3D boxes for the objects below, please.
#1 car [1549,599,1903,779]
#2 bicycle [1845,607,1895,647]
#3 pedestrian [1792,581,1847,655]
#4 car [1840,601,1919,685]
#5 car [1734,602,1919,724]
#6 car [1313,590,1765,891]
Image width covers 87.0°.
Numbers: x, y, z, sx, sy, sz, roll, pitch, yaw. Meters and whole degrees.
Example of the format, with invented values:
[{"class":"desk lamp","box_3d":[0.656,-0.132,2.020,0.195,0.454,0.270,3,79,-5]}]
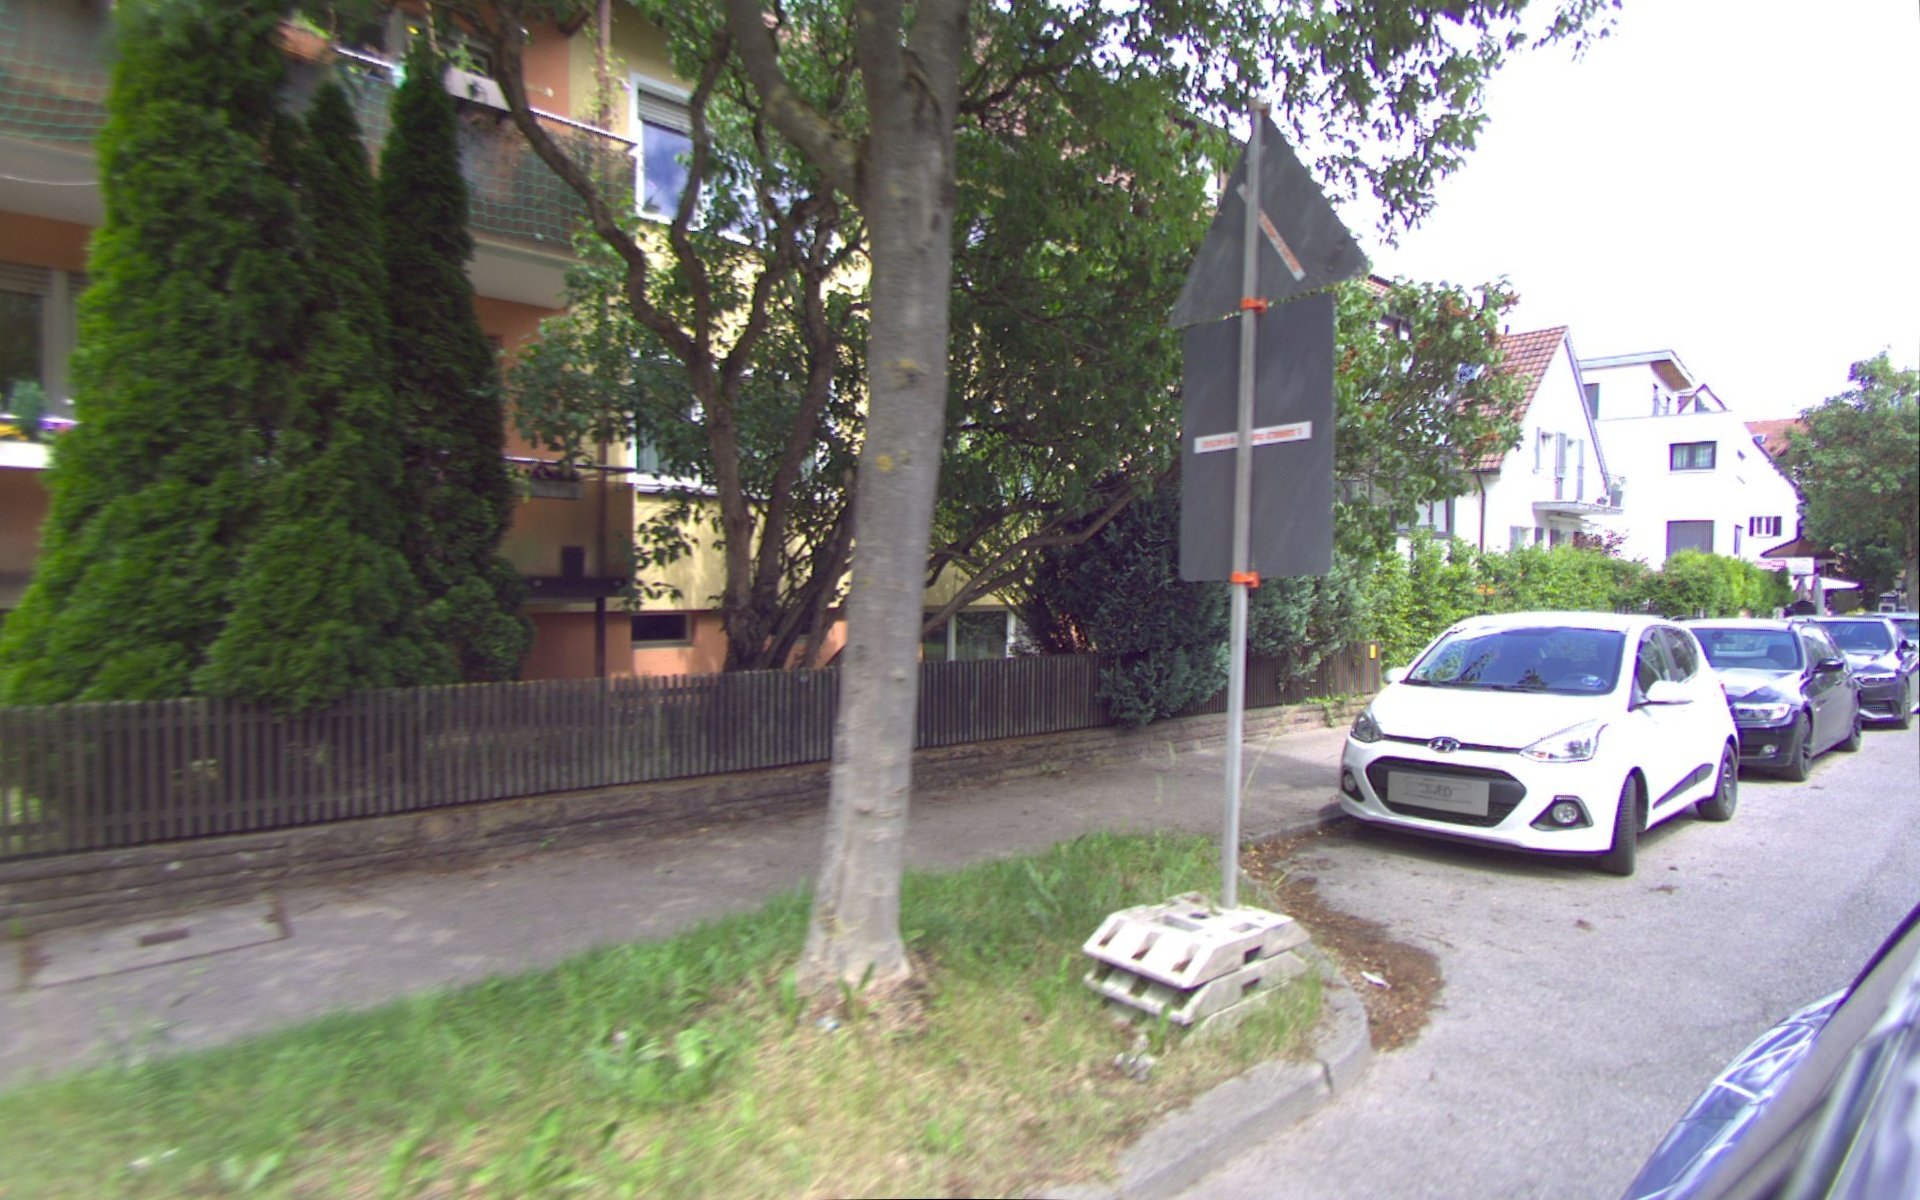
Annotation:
[{"class":"car","box_3d":[8.144,0.733,10.604,4.507,1.441,1.998,0,1,-40]},{"class":"bicycle","box_3d":[28.618,0.820,31.831,2.172,1.164,0.723,-1,1,-36]},{"class":"pedestrian","box_3d":[20.544,0.407,24.188,0.827,1.734,0.882,-1,1,-40]},{"class":"car","box_3d":[18.947,0.780,20.001,4.787,1.499,1.703,0,0,-41]},{"class":"car","box_3d":[12.622,0.773,14.296,4.797,1.447,1.736,0,-2,-41]},{"class":"car","box_3d":[4.182,0.718,7.073,3.713,1.526,1.624,0,1,-41]}]
